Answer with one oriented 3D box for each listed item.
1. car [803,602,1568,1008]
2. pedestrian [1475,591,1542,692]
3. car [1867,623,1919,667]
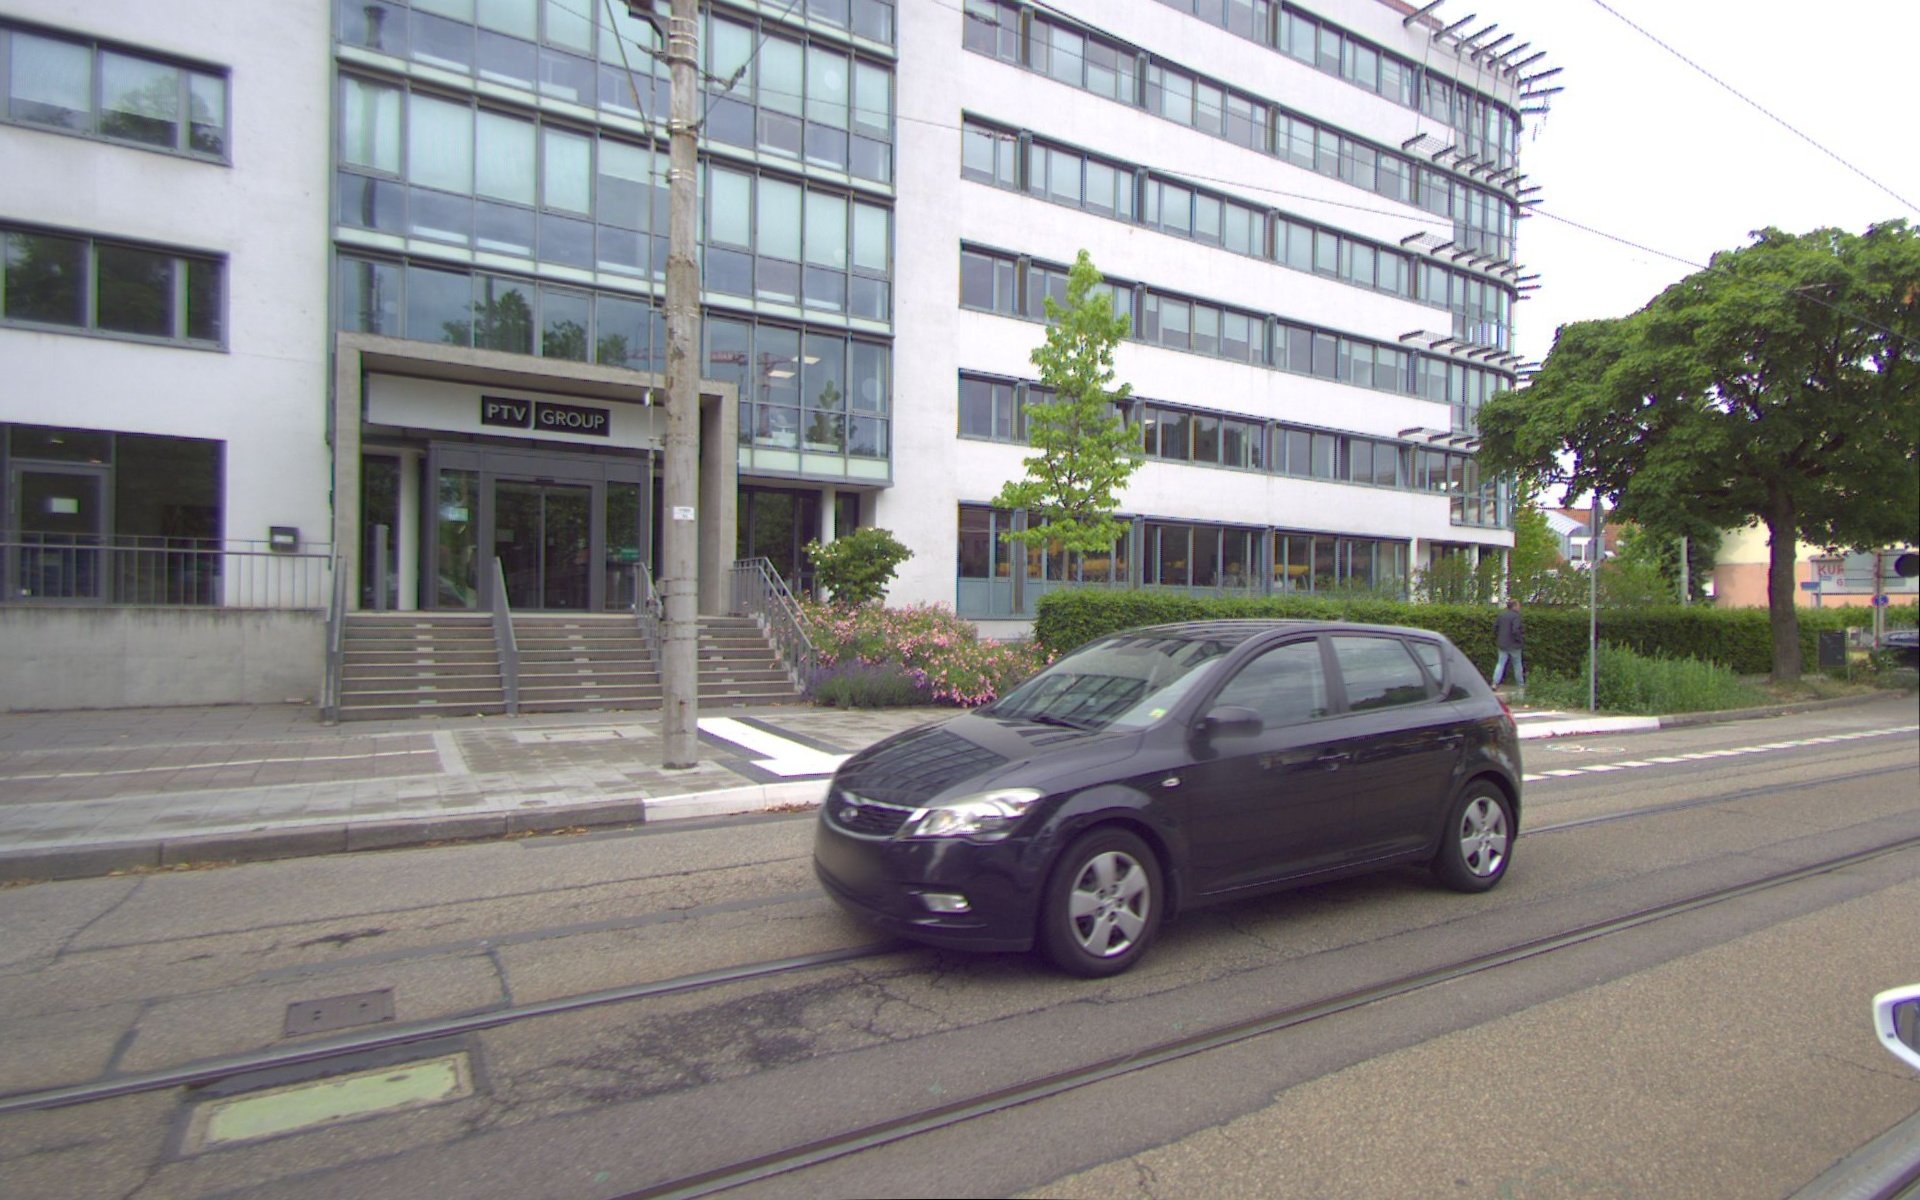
[{"bbox_3d":[1.338,0.785,5.520,4.015,1.506,1.739,0,-1,-30],"label":"car"},{"bbox_3d":[11.364,0.852,20.819,0.977,2.040,0.708,2,1,-23],"label":"pedestrian"},{"bbox_3d":[32.326,1.495,32.704,1.769,1.406,3.926,1,0,-9],"label":"car"}]
